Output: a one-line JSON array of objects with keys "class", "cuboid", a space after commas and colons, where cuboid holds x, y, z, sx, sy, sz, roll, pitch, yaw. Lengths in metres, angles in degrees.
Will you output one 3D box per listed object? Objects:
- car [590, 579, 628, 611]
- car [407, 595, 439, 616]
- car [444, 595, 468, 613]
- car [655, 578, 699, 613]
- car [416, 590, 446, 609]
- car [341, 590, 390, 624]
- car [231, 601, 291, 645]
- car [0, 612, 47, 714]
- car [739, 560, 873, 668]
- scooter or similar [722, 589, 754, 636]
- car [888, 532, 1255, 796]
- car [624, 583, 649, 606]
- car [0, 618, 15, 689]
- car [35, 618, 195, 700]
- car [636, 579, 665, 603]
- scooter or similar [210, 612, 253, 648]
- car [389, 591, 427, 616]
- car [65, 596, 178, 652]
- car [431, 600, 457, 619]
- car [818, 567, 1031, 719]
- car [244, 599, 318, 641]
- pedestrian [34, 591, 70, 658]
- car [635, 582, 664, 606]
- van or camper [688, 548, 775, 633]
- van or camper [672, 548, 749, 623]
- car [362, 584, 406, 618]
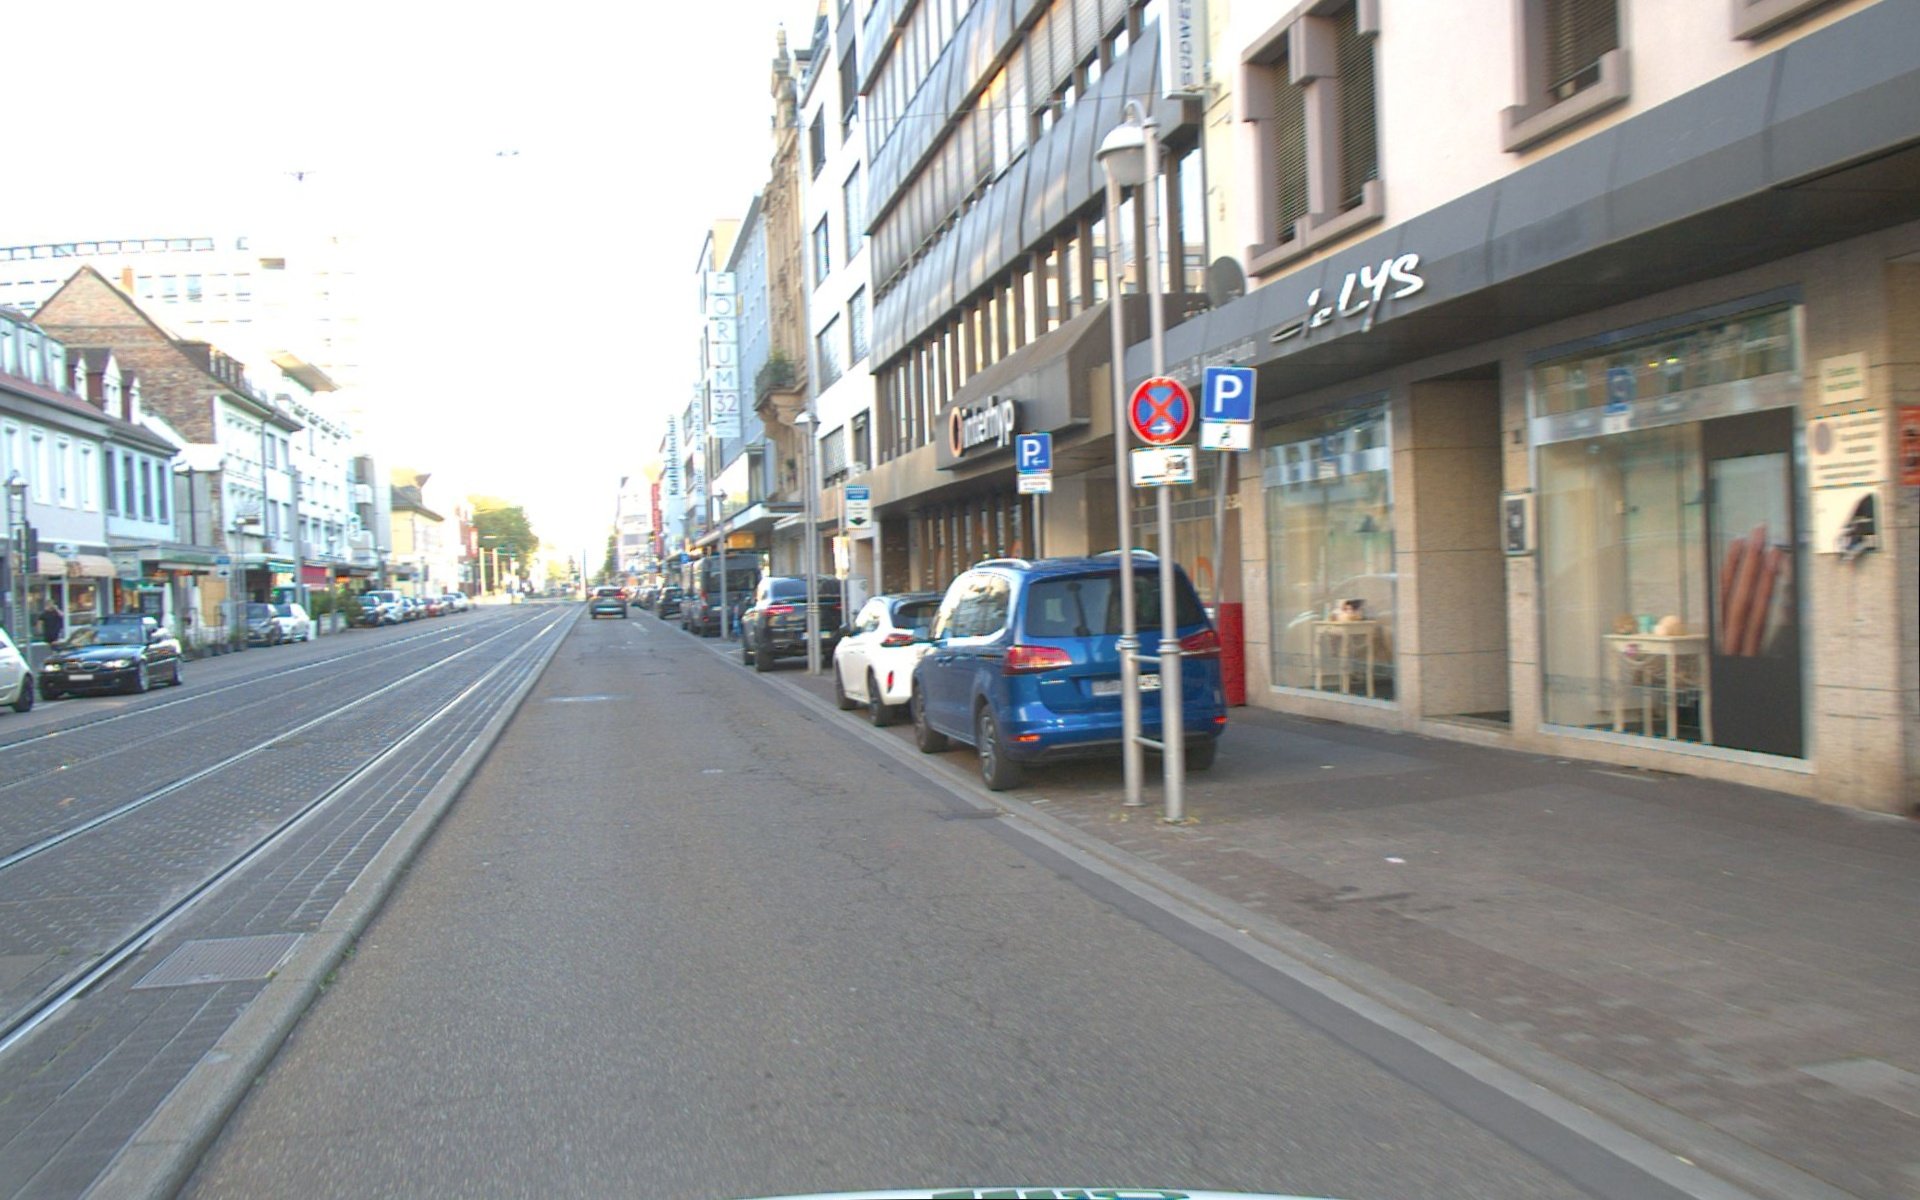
[{"class": "car", "cuboid": [-18.691, -0.278, 88.200, 1.910, 1.571, 4.531, -2, 1, -12]}, {"class": "car", "cuboid": [-36.309, 0.361, 111.933, 1.760, 1.362, 3.878, 0, 0, -13]}, {"class": "car", "cuboid": [-44.183, 0.332, 145.165, 1.760, 1.475, 3.878, 0, 0, -13]}, {"class": "car", "cuboid": [-14.141, -0.249, 82.547, 1.910, 1.571, 4.531, -5, 1, -12]}, {"class": "car", "cuboid": [-38.762, -0.021, 121.197, 1.760, 1.362, 3.878, 0, 0, -13]}, {"class": "car", "cuboid": [-32.324, 0.371, 90.022, 1.884, 1.794, 4.416, 0, 0, -12]}, {"class": "car", "cuboid": [-25.222, 0.795, 59.744, 1.564, 1.531, 2.803, 0, 0, -13]}, {"class": "car", "cuboid": [-15.472, 1.034, 25.223, 1.639, 1.531, 3.668, -5, 1, -13]}, {"class": "car", "cuboid": [-3.045, 0.228, 31.775, 1.950, 1.764, 4.657, -5, 1, -12]}, {"class": "scooter or similar", "cuboid": [-6.259, 0.349, 46.704, 0.347, 1.245, 1.116, -4, 1, 20]}, {"class": "car", "cuboid": [0.735, 0.432, 14.208, 1.882, 1.746, 4.550, -5, 1, -12]}, {"class": "car", "cuboid": [-27.562, -0.473, 140.686, 1.910, 1.732, 4.531, -5, 1, -12]}, {"class": "car", "cuboid": [-19.776, 1.082, 31.772, 1.729, 1.414, 4.257, 0, 0, -14]}, {"class": "car", "cuboid": [-16.084, 1.080, 31.692, 1.639, 1.249, 4.259, -5, 1, -13]}, {"class": "car", "cuboid": [-23.483, -0.695, 125.405, 1.910, 1.571, 4.531, -5, 1, -12]}, {"class": "scooter or similar", "cuboid": [-24.850, 1.015, 56.429, 1.291, 1.226, 0.293, 0, 0, -12]}, {"class": "car", "cuboid": [-35.278, 0.224, 105.717, 1.884, 1.547, 4.614, 0, 0, -13]}, {"class": "car", "cuboid": [-22.111, 0.598, 43.749, 1.703, 1.414, 3.853, 0, 0, -12]}, {"class": "car", "cuboid": [-43.409, 0.787, 139.155, 1.760, 1.475, 3.878, 0, 0, -13]}, {"class": "car", "cuboid": [-0.537, 0.450, 19.947, 1.736, 1.510, 3.859, -5, 1, -13]}, {"class": "car", "cuboid": [-26.266, 0.738, 64.127, 1.817, 1.531, 4.827, 0, 0, -12]}, {"class": "pedestrian", "cuboid": [-24.946, 0.662, 45.449, 0.636, 1.803, 0.852, -1, 0, -12]}, {"class": "car", "cuboid": [-22.519, -0.461, 119.843, 1.910, 1.571, 4.531, -5, 1, -12]}, {"class": "van or camper", "cuboid": [-7.591, -0.324, 54.395, 2.152, 2.468, 6.112, -5, 1, -13]}, {"class": "van or camper", "cuboid": [-9.185, -0.526, 60.523, 2.152, 2.468, 5.498, -5, 1, -14]}, {"class": "car", "cuboid": [-34.043, 0.065, 97.887, 1.884, 1.969, 4.827, 0, 0, -12]}]
